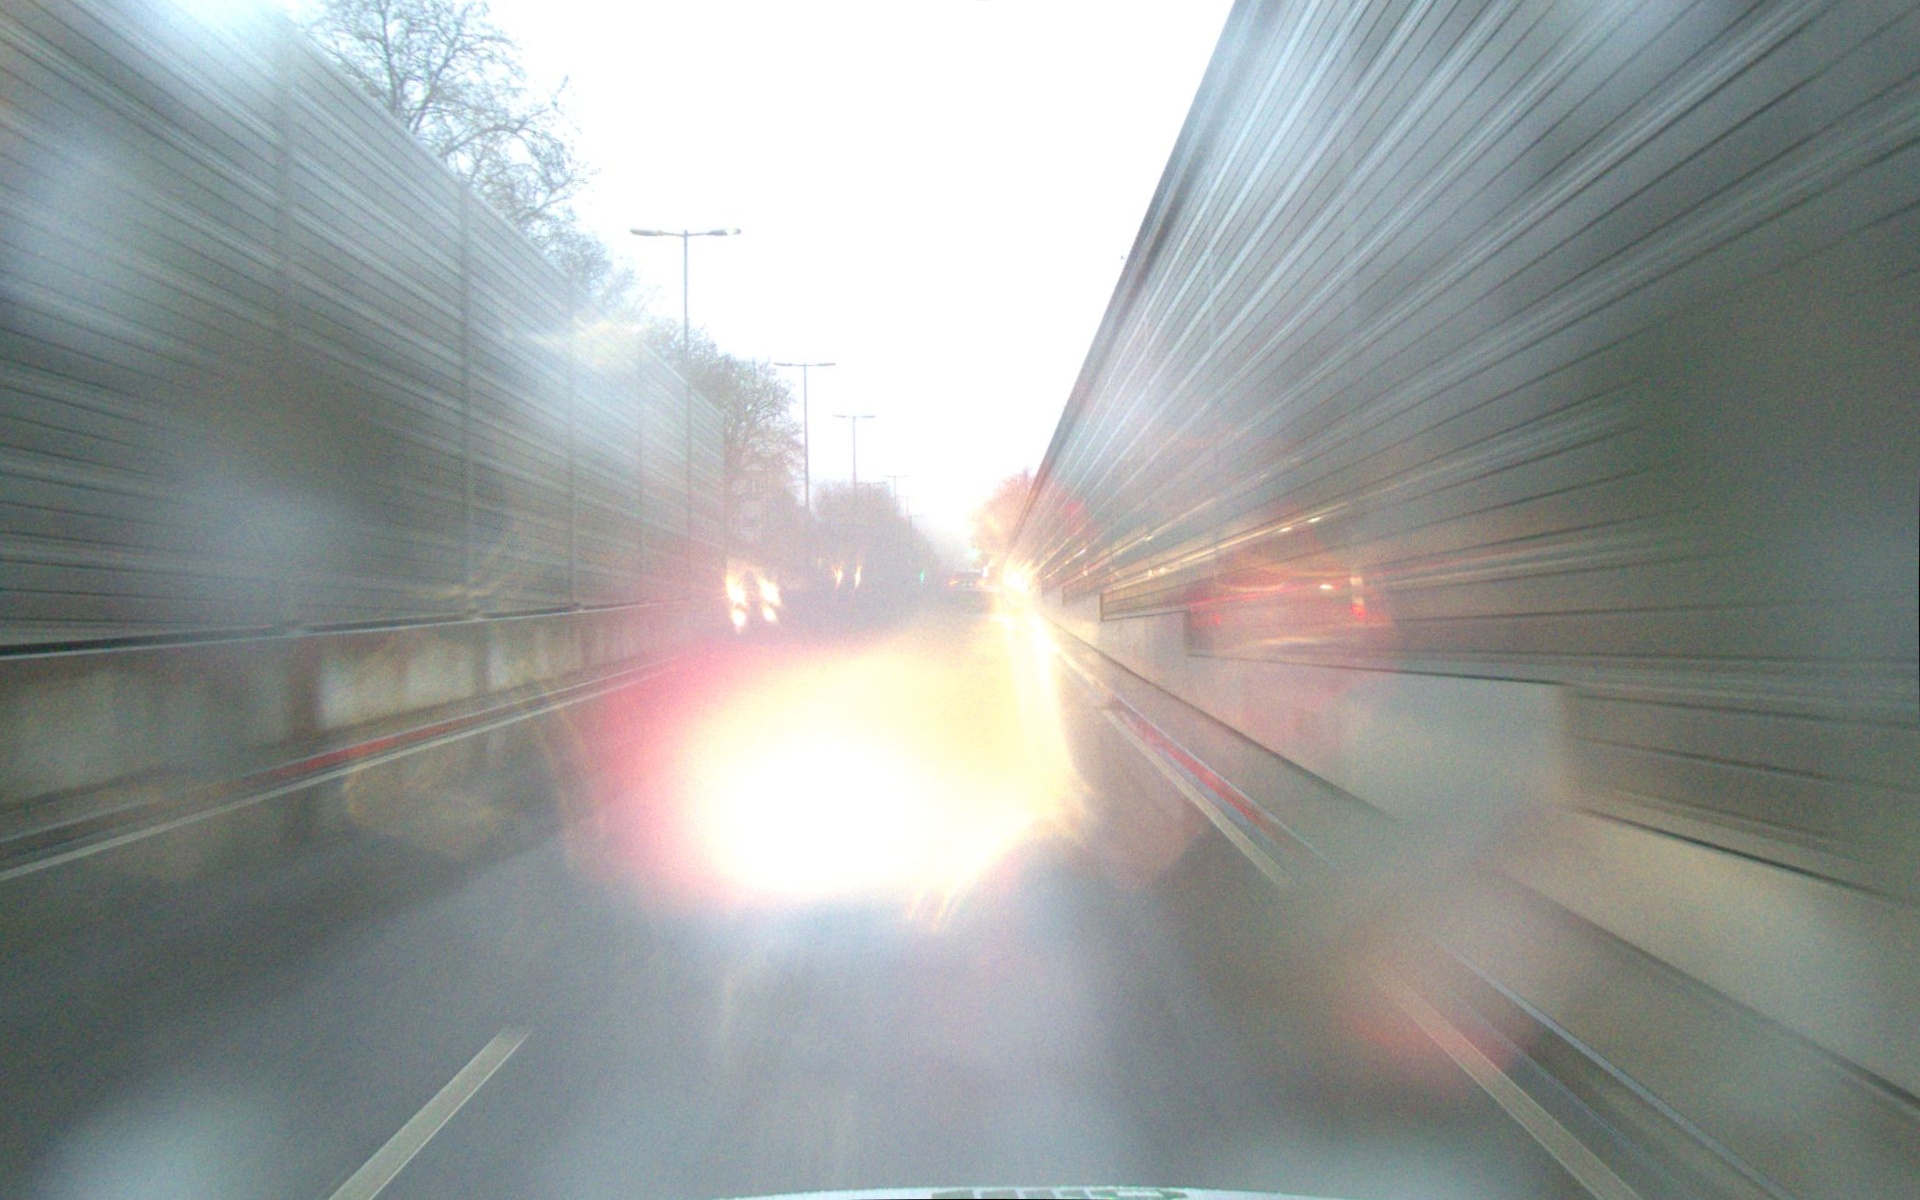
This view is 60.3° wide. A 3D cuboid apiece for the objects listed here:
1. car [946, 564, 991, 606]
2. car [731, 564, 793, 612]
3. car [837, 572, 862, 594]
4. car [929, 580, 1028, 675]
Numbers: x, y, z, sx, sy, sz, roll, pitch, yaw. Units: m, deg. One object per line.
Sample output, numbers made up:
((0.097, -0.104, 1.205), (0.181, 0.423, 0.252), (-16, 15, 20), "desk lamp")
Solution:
((0.360, -0.652, 73.750), (1.842, 1.649, 3.998), (2, -2, -2), "car")
((-7.728, -0.439, 64.905), (1.842, 1.649, 3.999), (2, -2, 1), "car")
((-7.821, -1.233, 117.002), (1.539, 1.496, 3.687), (0, 2, 0), "car")
((0.297, 0.441, 27.211), (1.500, 1.422, 3.433), (1, -1, 0), "car")
